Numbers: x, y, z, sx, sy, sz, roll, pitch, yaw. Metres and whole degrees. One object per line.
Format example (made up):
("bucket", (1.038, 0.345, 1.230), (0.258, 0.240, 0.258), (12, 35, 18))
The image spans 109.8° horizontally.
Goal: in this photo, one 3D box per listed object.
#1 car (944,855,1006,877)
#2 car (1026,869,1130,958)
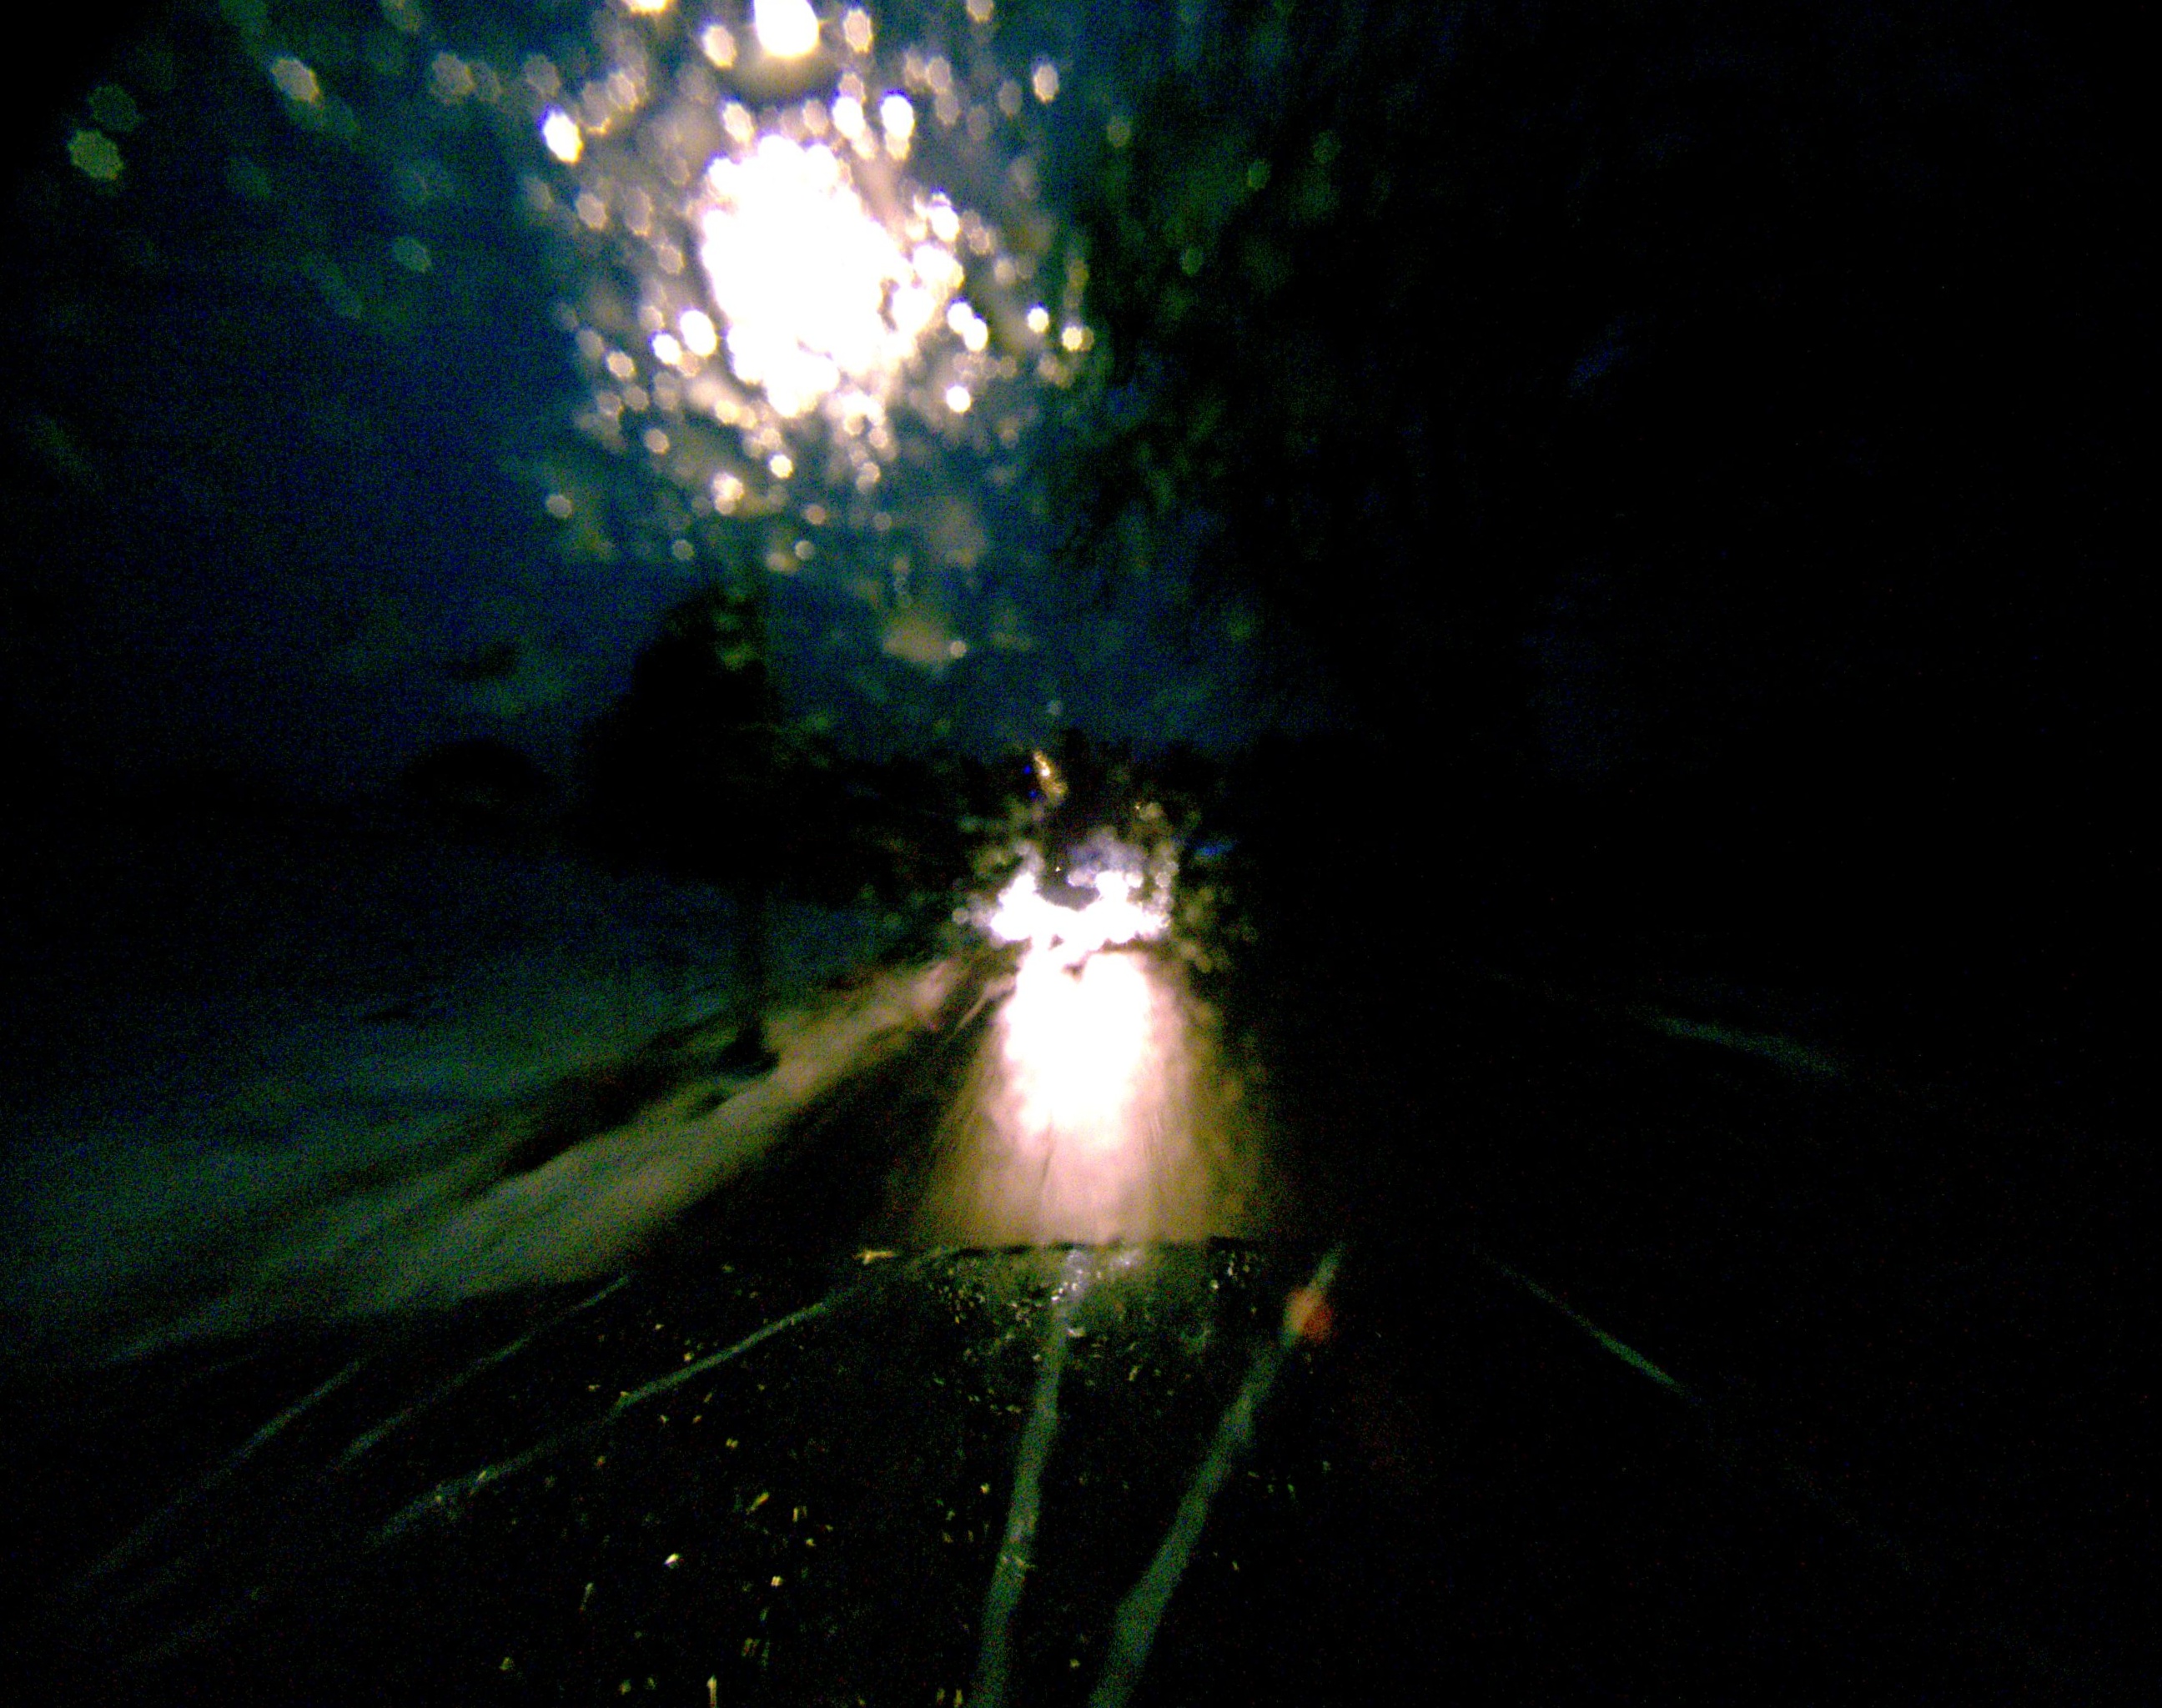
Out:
("car", (-8.287, 0.957, 59.639), (4.403, 1.647, 1.864), (1, -1, 9))
("car", (-0.173, 1.035, 14.684), (1.650, 1.446, 3.679), (-2, -1, -5))
